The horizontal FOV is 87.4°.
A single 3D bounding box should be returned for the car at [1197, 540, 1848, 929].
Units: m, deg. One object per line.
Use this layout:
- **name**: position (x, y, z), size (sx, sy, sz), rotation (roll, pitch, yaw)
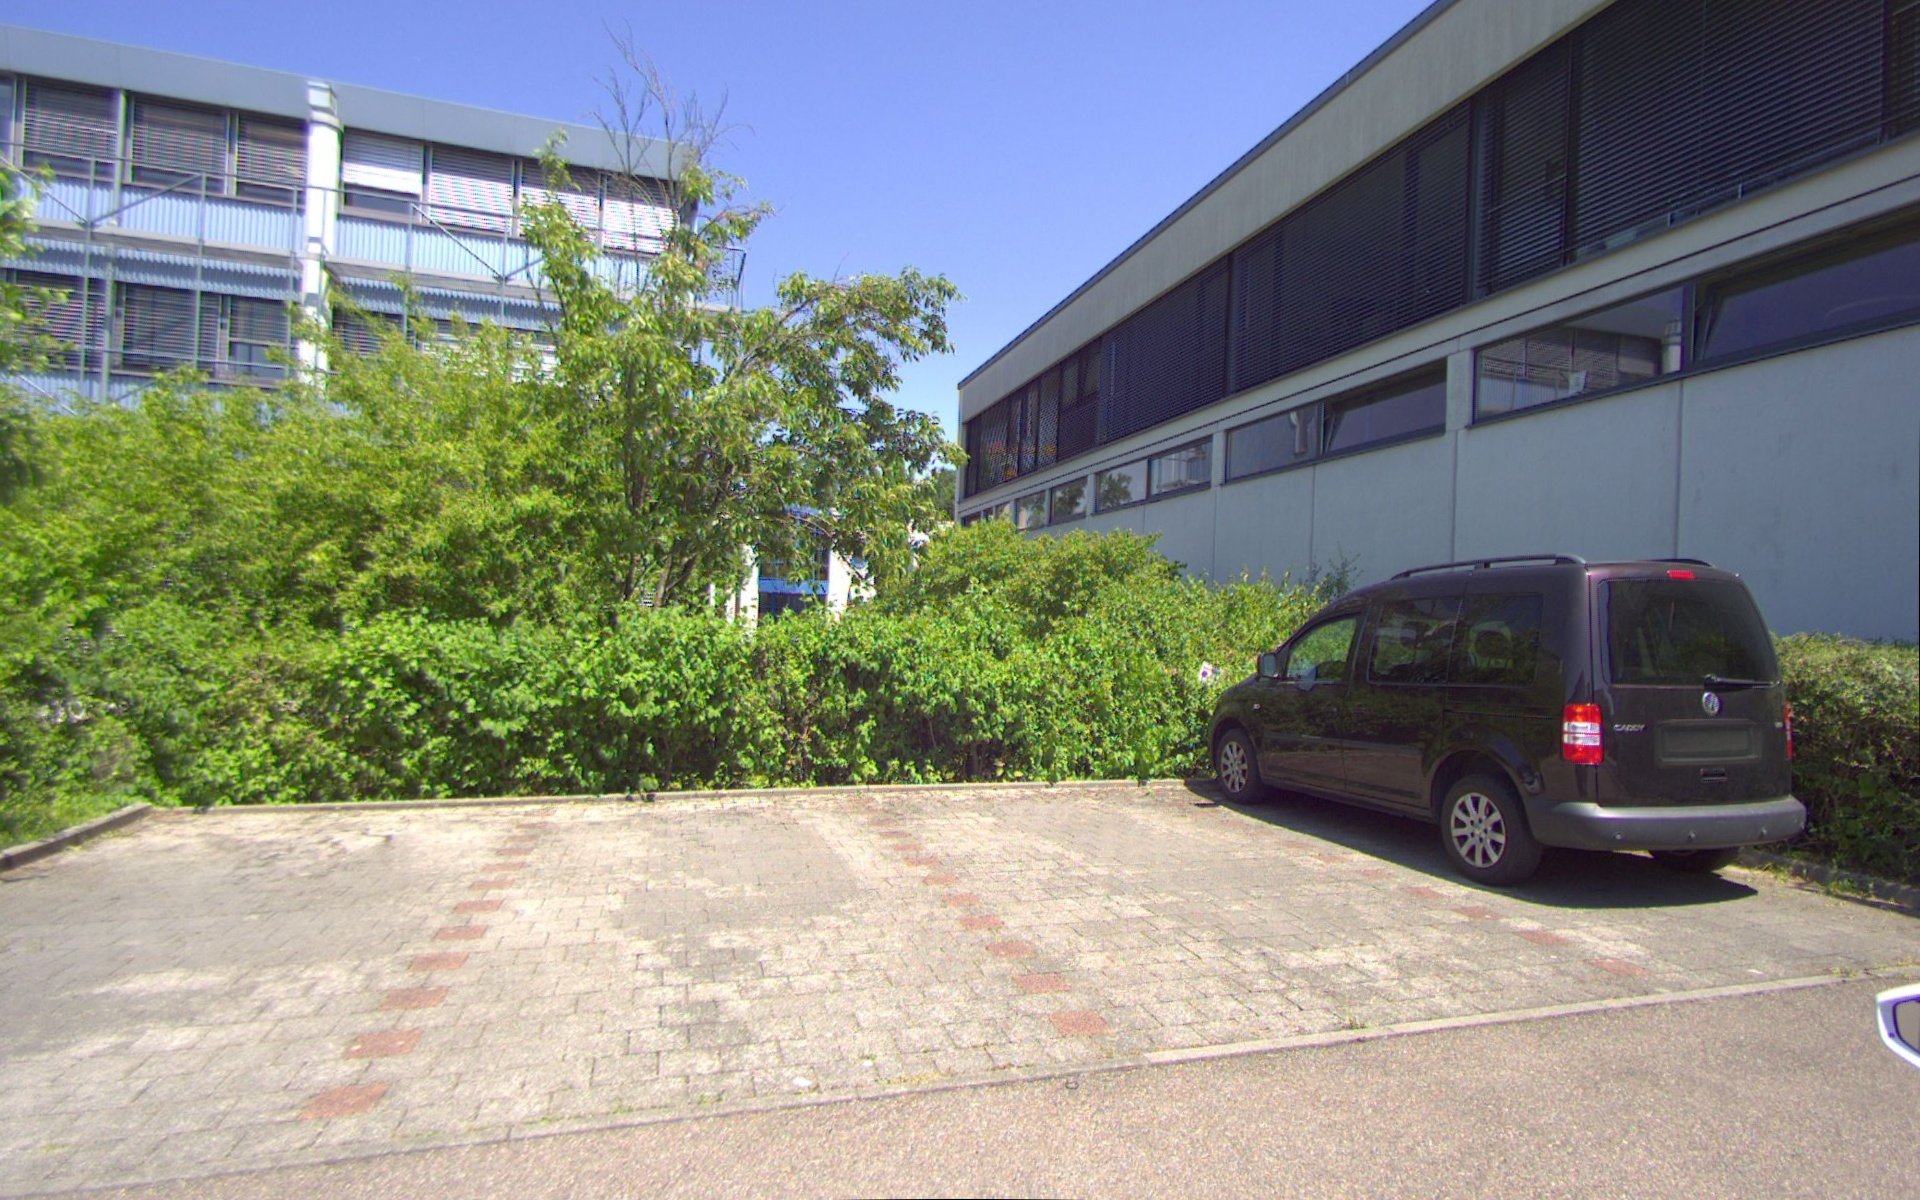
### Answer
- **car**: position (3.432, 0.704, 7.128), size (1.651, 1.909, 4.058), rotation (2, -1, -15)
